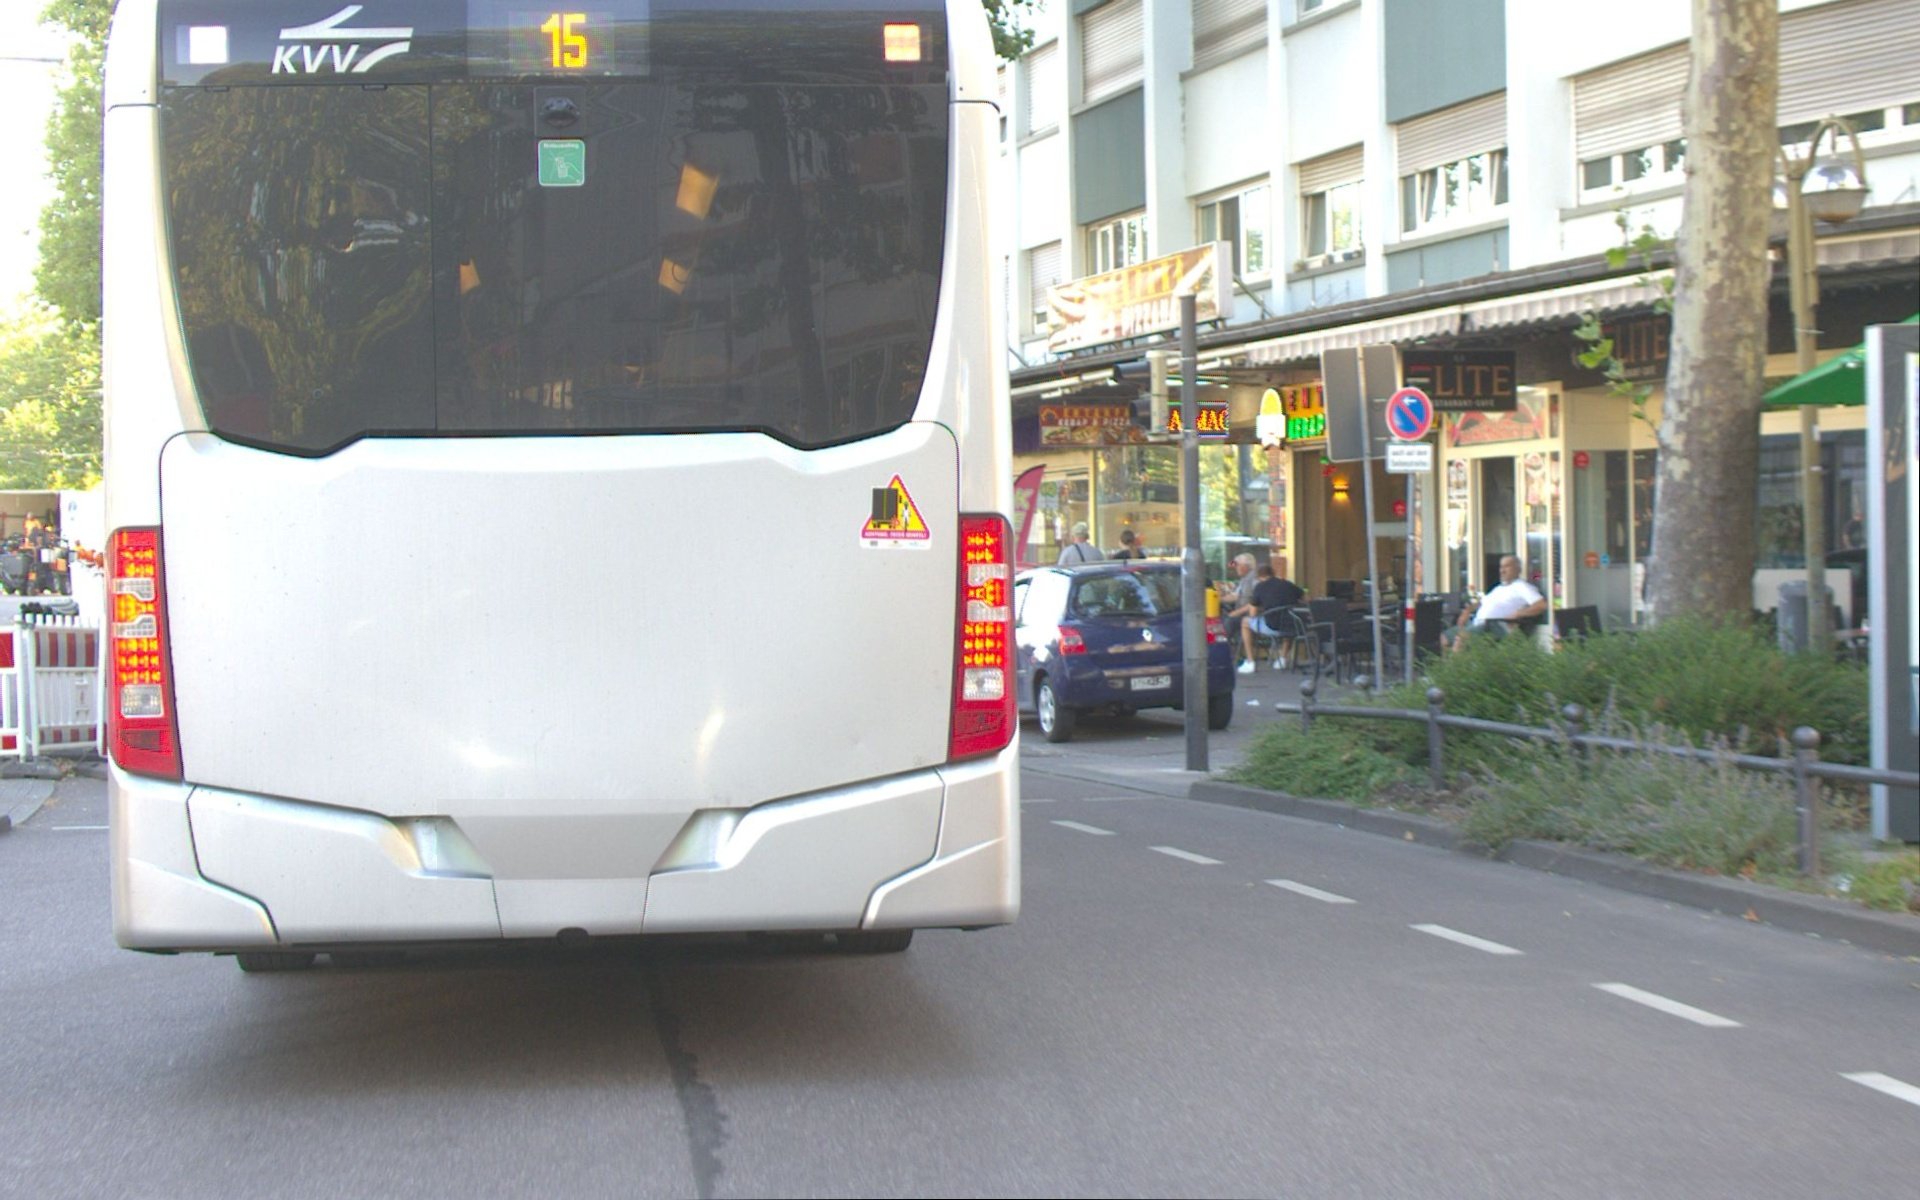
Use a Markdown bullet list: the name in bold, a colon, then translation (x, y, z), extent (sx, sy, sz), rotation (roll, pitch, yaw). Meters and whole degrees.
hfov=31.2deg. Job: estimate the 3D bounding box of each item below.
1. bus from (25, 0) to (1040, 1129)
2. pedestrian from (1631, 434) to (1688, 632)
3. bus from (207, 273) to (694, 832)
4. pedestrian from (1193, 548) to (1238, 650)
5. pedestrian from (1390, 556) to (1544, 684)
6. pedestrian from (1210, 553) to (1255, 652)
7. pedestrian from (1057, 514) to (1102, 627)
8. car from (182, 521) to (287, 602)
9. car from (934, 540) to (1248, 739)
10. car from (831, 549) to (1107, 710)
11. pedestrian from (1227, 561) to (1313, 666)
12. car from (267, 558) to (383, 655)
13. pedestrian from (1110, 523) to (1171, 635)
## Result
- **bus**: translation (-1.922, -0.242, 14.210), extent (2.657, 3.088, 10.218), rotation (-1, 1, -9)
- **pedestrian**: translation (6.122, -0.587, 30.092), extent (0.357, 1.712, 0.309), rotation (1, 1, -8)
- **bus**: translation (-3.653, -0.337, 24.245), extent (2.657, 3.088, 10.219), rotation (-1, 1, -9)
- **pedestrian**: translation (2.965, -0.015, 39.858), extent (0.391, 1.170, 0.389), rotation (-1, 1, -17)
- **pedestrian**: translation (4.858, 0.181, 32.991), extent (1.177, 1.193, 0.926), rotation (-1, 1, -15)
- **pedestrian**: translation (3.123, 0.023, 39.400), extent (0.387, 1.118, 0.393), rotation (-1, 1, -16)
- **pedestrian**: translation (1.337, -0.330, 38.489), extent (0.387, 1.252, 0.393), rotation (-1, 1, -16)
- **car**: translation (-13.702, -0.743, 64.800), extent (1.755, 1.459, 4.001), rotation (-1, 1, -14)
- **car**: translation (1.082, 0.293, 30.083), extent (1.662, 1.511, 3.414), rotation (-4, 2, -16)
- **car**: translation (0.033, 0.248, 34.019), extent (1.662, 1.390, 3.414), rotation (-4, 2, -18)
- **pedestrian**: translation (3.353, 0.141, 37.212), extent (0.705, 1.105, 0.766), rotation (-1, 1, -15)
- **car**: translation (-10.250, 0.077, 55.330), extent (1.755, 1.459, 4.001), rotation (-1, 1, -11)
- **pedestrian**: translation (2.043, -0.242, 38.929), extent (0.592, 1.252, 0.393), rotation (-1, 1, -14)
